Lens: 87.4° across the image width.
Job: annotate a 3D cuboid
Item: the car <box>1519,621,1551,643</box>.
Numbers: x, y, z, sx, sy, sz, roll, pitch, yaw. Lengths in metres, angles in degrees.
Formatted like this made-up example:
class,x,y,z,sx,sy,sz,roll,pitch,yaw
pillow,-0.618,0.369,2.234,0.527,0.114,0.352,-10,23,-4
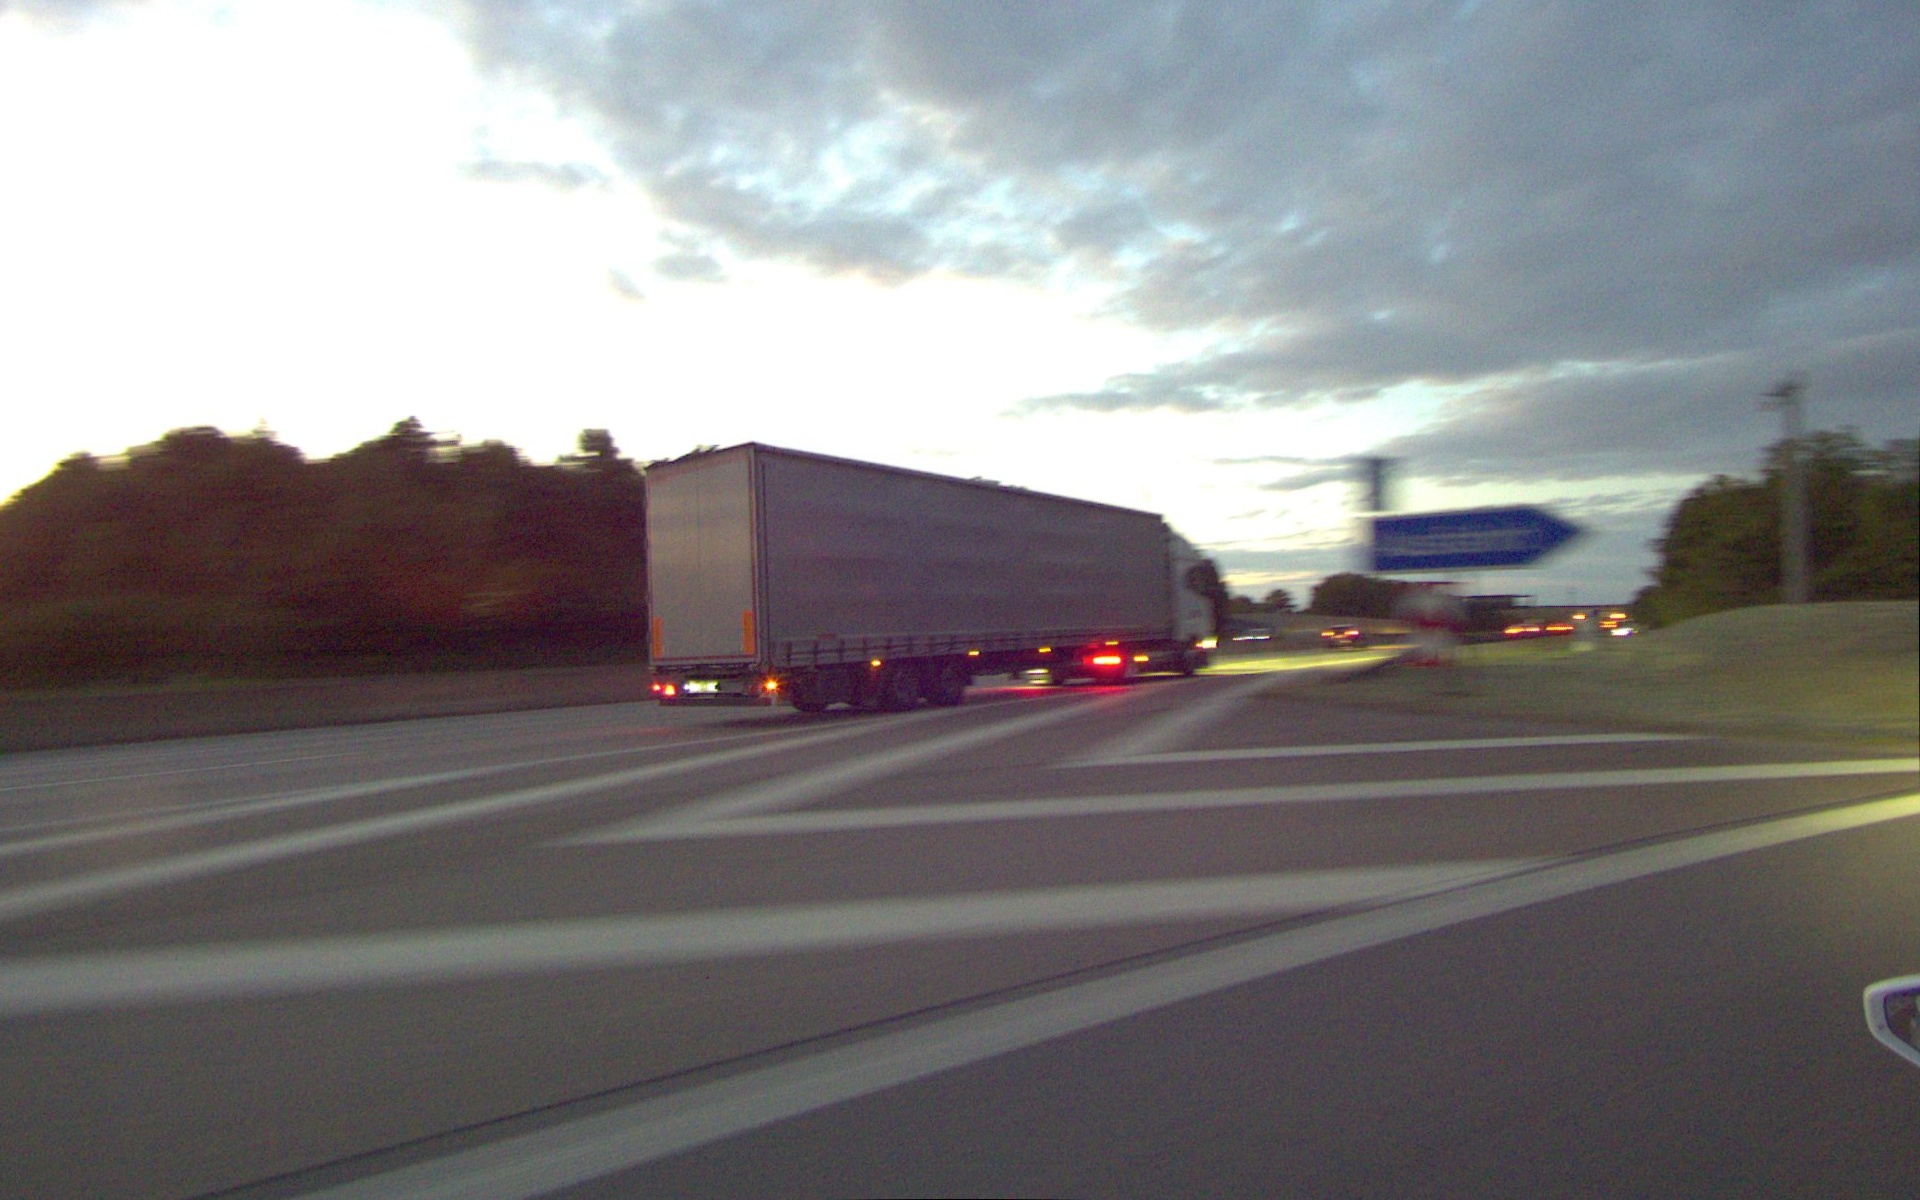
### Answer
class,x,y,z,sx,sy,sz,roll,pitch,yaw
car,56.299,3.095,98.328,1.970,2.040,3.982,-4,-3,39

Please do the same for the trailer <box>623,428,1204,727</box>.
class,x,y,z,sx,sy,sz,roll,pitch,yaw
trailer,0.521,-0.110,20.030,2.739,3.966,14.764,-5,-4,36

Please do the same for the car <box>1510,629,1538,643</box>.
class,x,y,z,sx,sy,sz,roll,pitch,yaw
car,71.340,4.546,127.012,1.973,1.664,4.529,-5,-4,42

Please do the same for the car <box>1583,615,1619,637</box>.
class,x,y,z,sx,sy,sz,roll,pitch,yaw
car,63.120,2.546,98.998,2.226,2.040,5.143,-1,-2,24

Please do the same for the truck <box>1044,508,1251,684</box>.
class,x,y,z,sx,sy,sz,roll,pitch,yaw
truck,5.056,0.019,26.185,2.744,3.952,6.132,-5,-4,36

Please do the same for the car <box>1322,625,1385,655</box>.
class,x,y,z,sx,sy,sz,roll,pitch,yaw
car,22.115,2.200,56.343,1.970,1.518,4.529,-5,-3,38
